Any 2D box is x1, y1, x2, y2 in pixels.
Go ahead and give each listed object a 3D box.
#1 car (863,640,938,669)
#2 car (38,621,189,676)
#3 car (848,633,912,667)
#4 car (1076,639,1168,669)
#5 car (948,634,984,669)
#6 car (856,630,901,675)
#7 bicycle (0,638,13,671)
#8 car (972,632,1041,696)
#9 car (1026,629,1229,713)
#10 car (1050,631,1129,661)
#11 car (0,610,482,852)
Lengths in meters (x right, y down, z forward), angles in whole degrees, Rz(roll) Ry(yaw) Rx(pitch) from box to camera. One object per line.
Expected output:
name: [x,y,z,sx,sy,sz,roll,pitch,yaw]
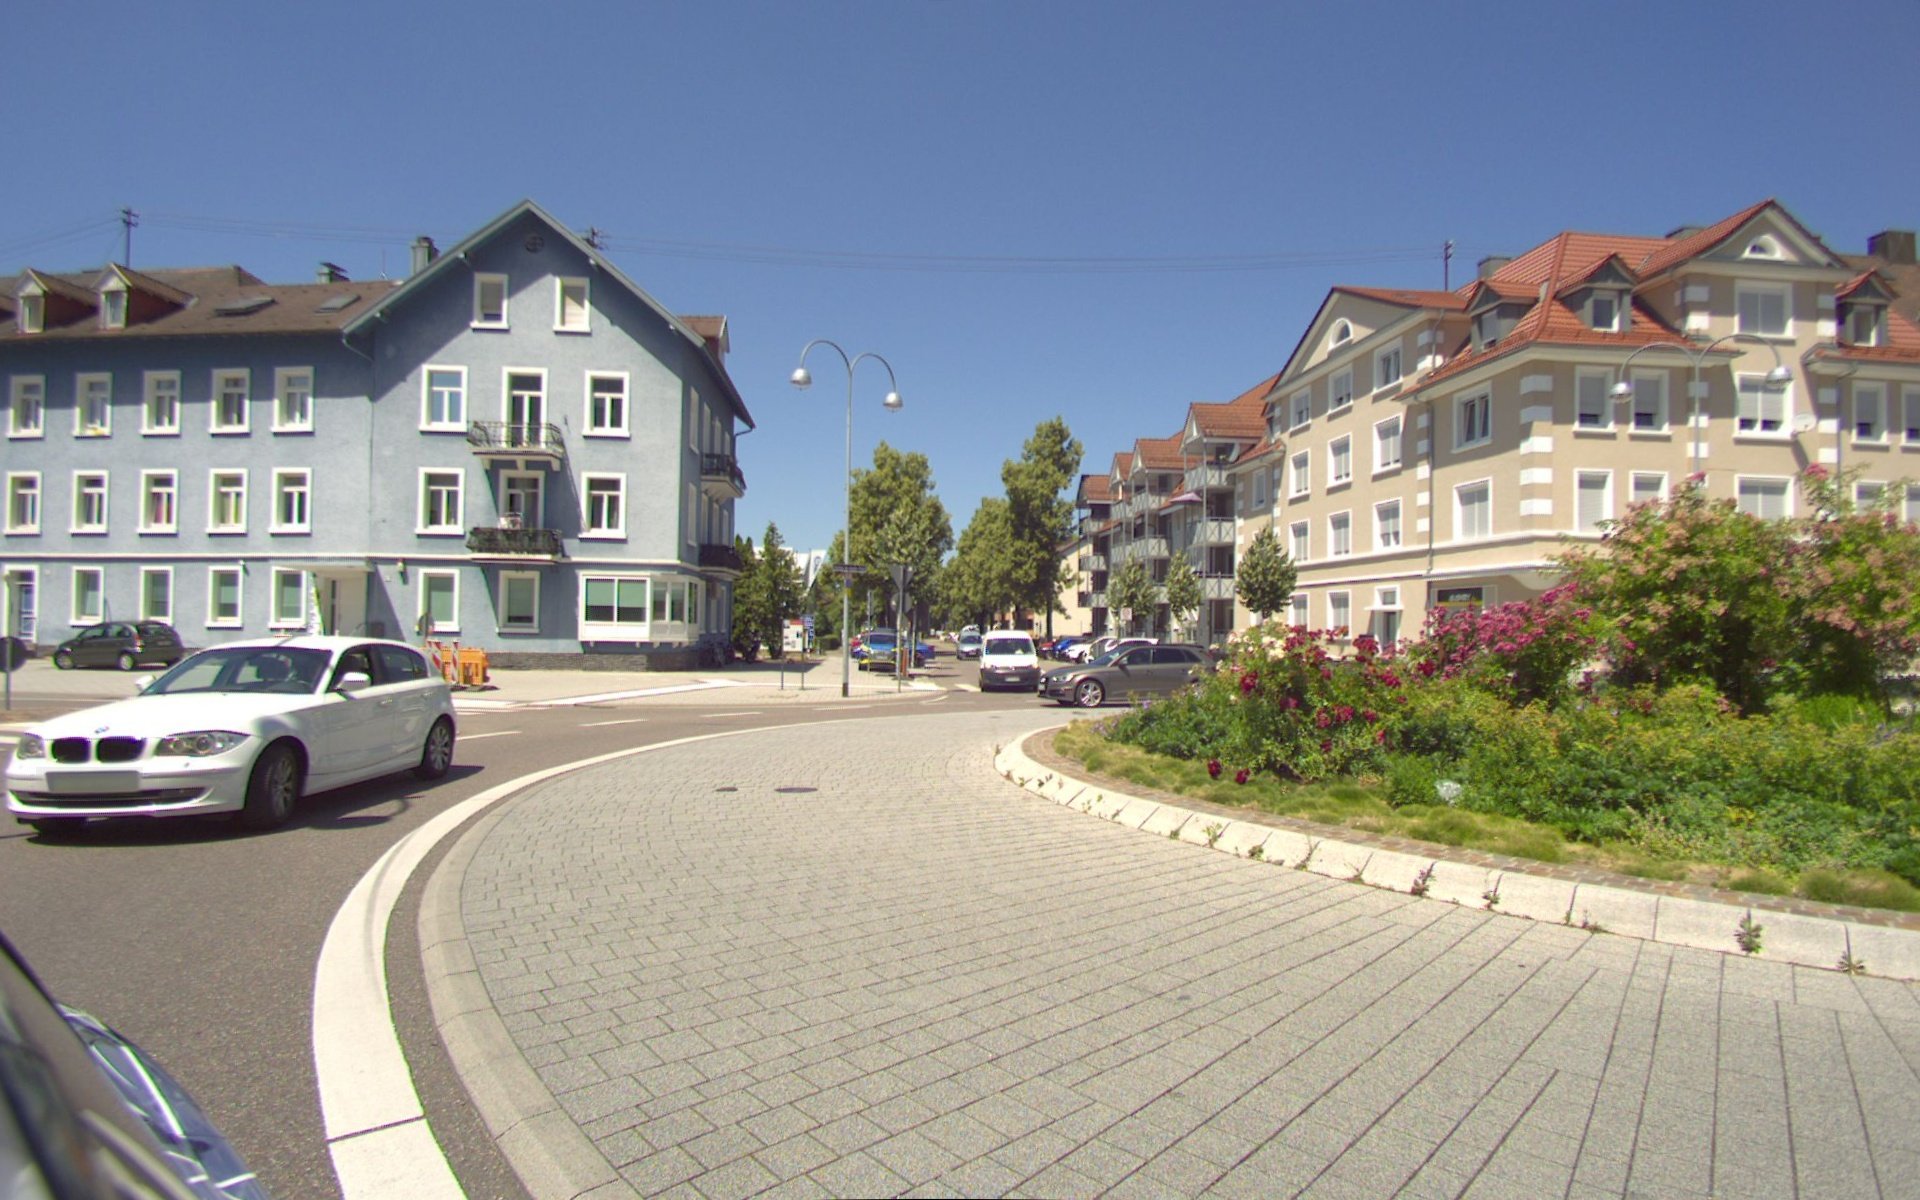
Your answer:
car: [-3.193,2.920,54.291,3.972,1.369,1.663,1,1,-3]
car: [-26.457,1.492,31.665,3.735,1.546,1.577,2,-1,11]
car: [-5.045,3.153,64.099,3.940,2.029,2.002,1,0,-3]
car: [8.349,2.792,52.381,4.343,1.504,1.984,1,-3,-4]
car: [0.349,3.236,63.943,1.971,2.029,4.002,1,0,-3]
car: [-3.431,2.174,42.679,1.754,1.791,4.247,1,-2,-4]
bicycle: [-30.858,1.705,32.026,1.959,0.984,0.494,1,2,22]
car: [1.340,1.885,30.691,1.756,1.791,4.244,0,-2,-1]
car: [3.746,1.565,23.034,4.175,1.791,1.785,0,-2,-9]
car: [7.560,2.692,59.342,4.307,1.683,1.984,1,-3,-4]
car: [-5.930,0.940,8.655,1.762,1.563,4.128,0,-2,0]
